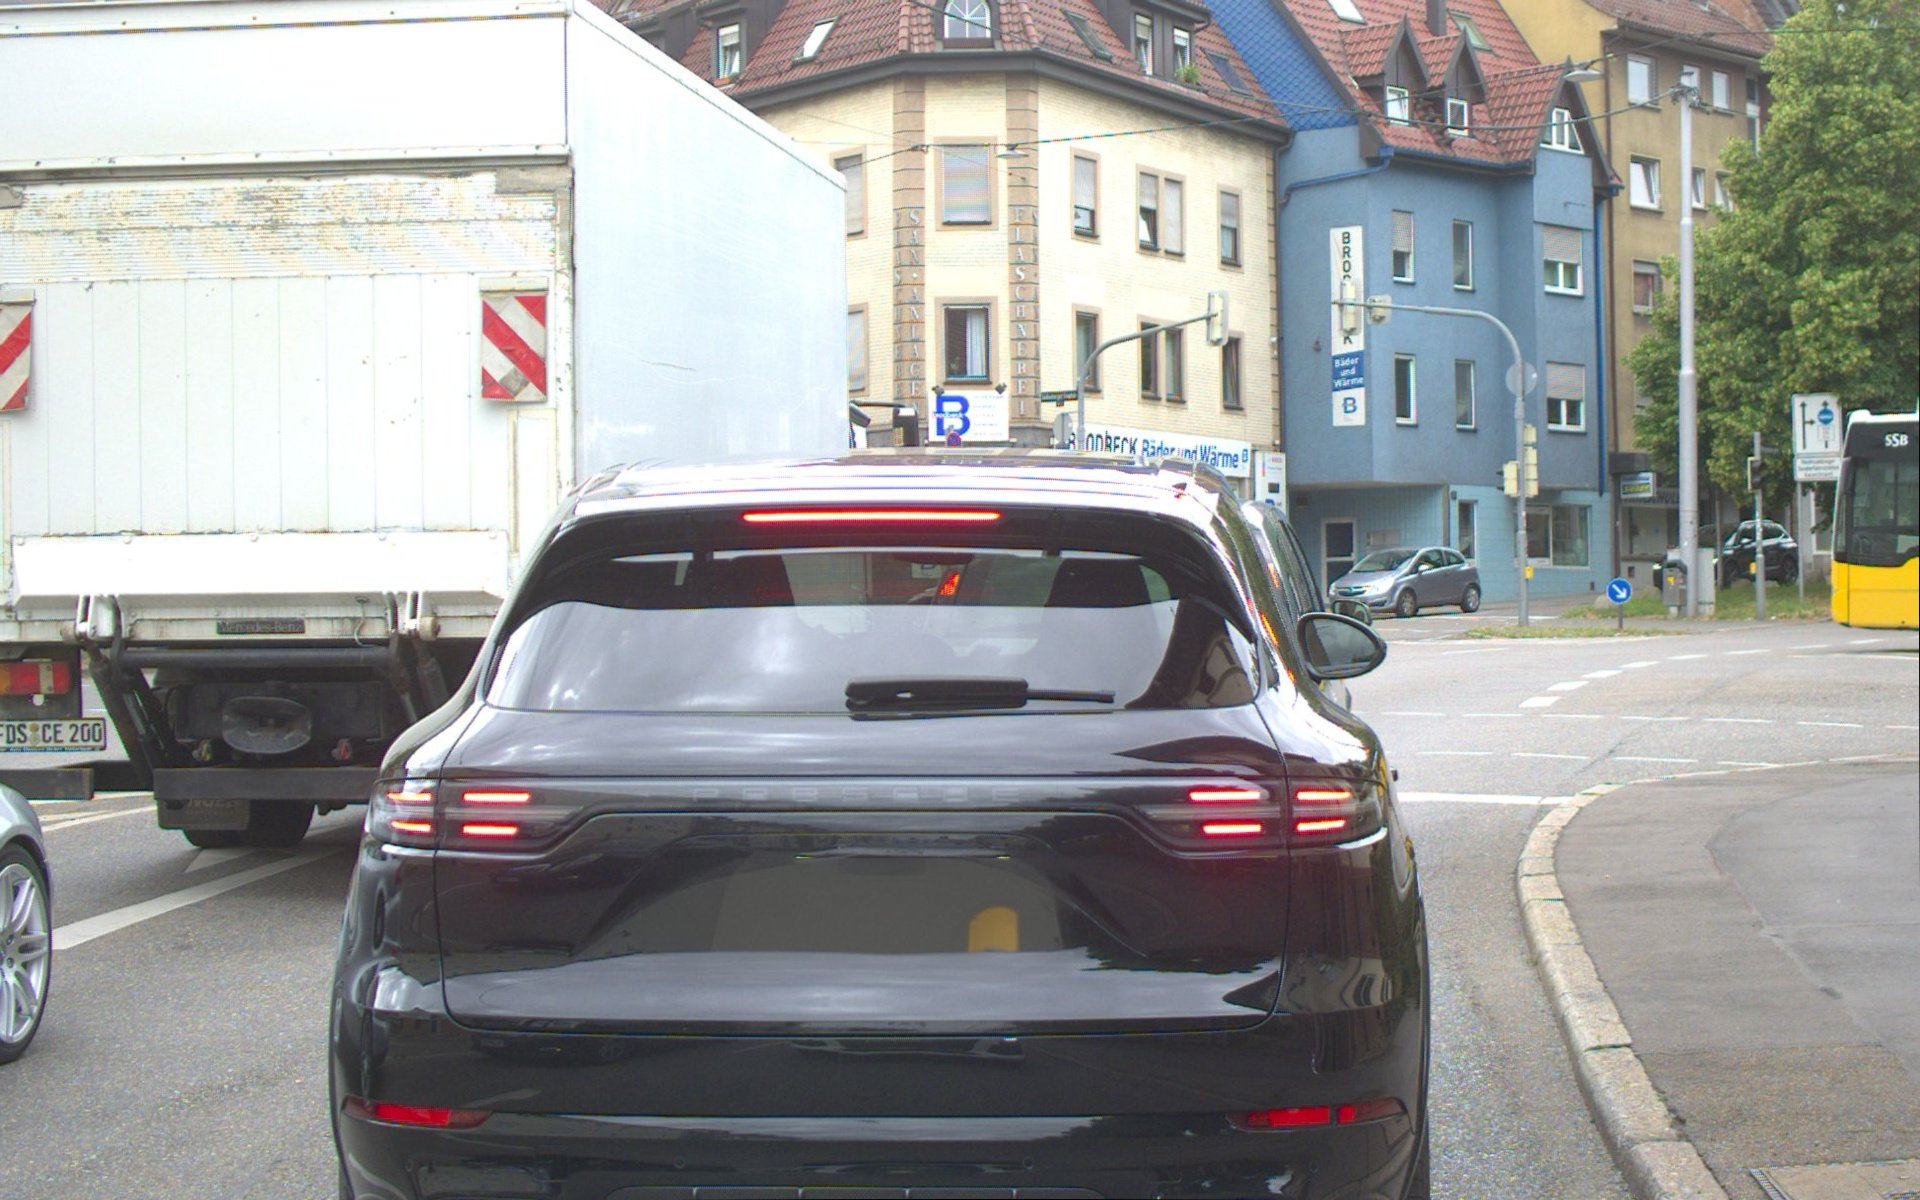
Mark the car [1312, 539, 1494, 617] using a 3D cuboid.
[{"bbox_3d":[9.185,-0.435,71.126,1.720,1.471,4.208,0,-1,40],"label":"car"}]

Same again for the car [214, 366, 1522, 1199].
[{"bbox_3d":[-0.172,0.466,7.640,2.031,1.717,4.500,1,1,-1],"label":"car"}]

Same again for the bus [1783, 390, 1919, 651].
[{"bbox_3d":[15.104,-1.011,38.487,3.158,3.085,12.148,-2,0,-37],"label":"bus"}]

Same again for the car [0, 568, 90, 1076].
[{"bbox_3d":[-3.492,0.644,8.020,1.629,1.360,4.128,-1,1,4],"label":"car"}]

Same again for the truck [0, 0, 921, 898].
[{"bbox_3d":[-2.202,-0.707,17.353,2.726,3.532,8.419,-1,1,8],"label":"truck"}]

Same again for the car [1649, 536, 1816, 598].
[{"bbox_3d":[18.283,-0.758,81.241,1.874,1.411,4.687,0,0,41],"label":"car"}]

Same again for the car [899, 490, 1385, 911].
[{"bbox_3d":[0.891,0.357,14.707,1.649,1.550,3.581,1,1,10],"label":"car"}]
